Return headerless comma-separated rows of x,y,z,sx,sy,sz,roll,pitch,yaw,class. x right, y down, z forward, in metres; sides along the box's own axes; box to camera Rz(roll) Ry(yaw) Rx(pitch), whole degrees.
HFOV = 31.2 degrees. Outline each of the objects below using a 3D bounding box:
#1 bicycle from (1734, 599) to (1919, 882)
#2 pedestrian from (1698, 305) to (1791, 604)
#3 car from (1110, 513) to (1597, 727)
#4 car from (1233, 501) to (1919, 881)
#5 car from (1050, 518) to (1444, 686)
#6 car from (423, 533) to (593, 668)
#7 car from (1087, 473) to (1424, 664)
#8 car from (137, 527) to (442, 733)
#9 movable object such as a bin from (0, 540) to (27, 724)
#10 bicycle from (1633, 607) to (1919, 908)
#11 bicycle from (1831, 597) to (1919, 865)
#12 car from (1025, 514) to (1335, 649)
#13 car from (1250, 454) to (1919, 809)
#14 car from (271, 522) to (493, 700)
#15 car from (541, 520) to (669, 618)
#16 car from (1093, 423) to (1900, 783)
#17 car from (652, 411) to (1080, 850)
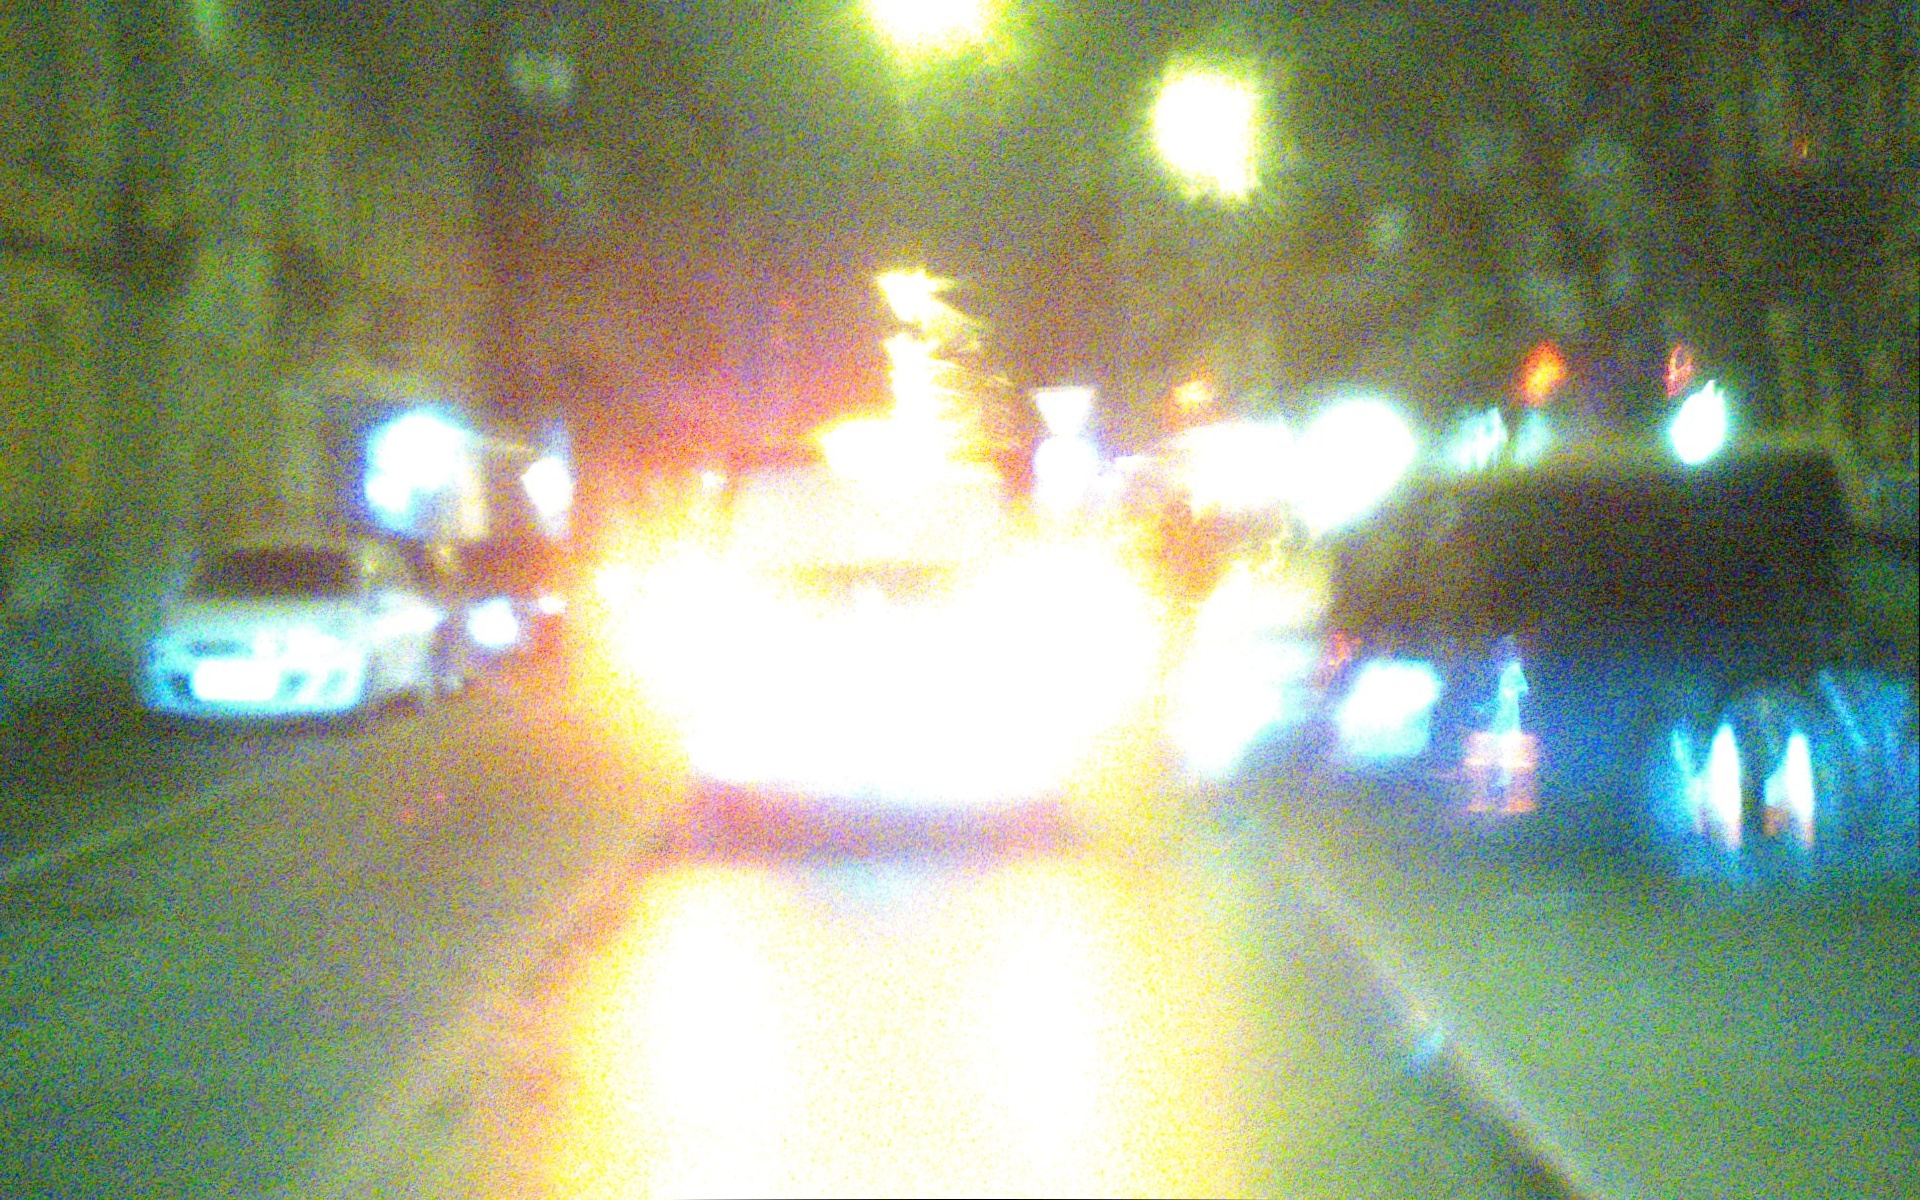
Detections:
3.889,0.546,13.467,0.518,1.072,1.827,-3,1,-31,bicycle
9.338,-1.726,40.939,0.891,3.515,0.791,0,1,0,pedestrian
3.153,0.132,27.334,3.555,1.479,1.726,-3,1,-36,car
3.450,0.330,15.921,3.987,1.487,1.735,-3,1,-27,car
2.834,0.003,33.706,3.554,1.448,1.672,-3,1,-35,car
-5.463,-0.034,41.951,1.812,1.552,4.077,0,1,-4,car
3.356,-0.372,38.835,3.555,1.984,1.605,-3,1,-37,car
-5.113,0.181,26.650,1.587,1.477,3.793,0,1,1,car
-7.792,0.230,26.081,1.048,1.393,1.158,1,1,2,movable object such as a bin
3.416,0.577,13.172,0.518,1.072,1.827,-3,1,-31,bicycle
4.361,0.535,13.753,0.518,1.072,1.827,-3,1,-31,bicycle
2.702,-0.230,41.961,3.554,1.585,1.605,-1,0,-37,car
3.571,0.125,18.938,3.554,1.705,1.646,-3,1,-29,car
-5.331,0.056,32.130,1.655,1.552,4.077,0,1,-4,car
-6.300,-0.576,61.391,1.883,1.679,4.000,0,1,0,car
3.410,-0.047,21.583,4.784,2.042,2.067,-1,2,-31,car
-0.453,0.127,18.000,1.993,2.043,4.000,0,0,0,car
